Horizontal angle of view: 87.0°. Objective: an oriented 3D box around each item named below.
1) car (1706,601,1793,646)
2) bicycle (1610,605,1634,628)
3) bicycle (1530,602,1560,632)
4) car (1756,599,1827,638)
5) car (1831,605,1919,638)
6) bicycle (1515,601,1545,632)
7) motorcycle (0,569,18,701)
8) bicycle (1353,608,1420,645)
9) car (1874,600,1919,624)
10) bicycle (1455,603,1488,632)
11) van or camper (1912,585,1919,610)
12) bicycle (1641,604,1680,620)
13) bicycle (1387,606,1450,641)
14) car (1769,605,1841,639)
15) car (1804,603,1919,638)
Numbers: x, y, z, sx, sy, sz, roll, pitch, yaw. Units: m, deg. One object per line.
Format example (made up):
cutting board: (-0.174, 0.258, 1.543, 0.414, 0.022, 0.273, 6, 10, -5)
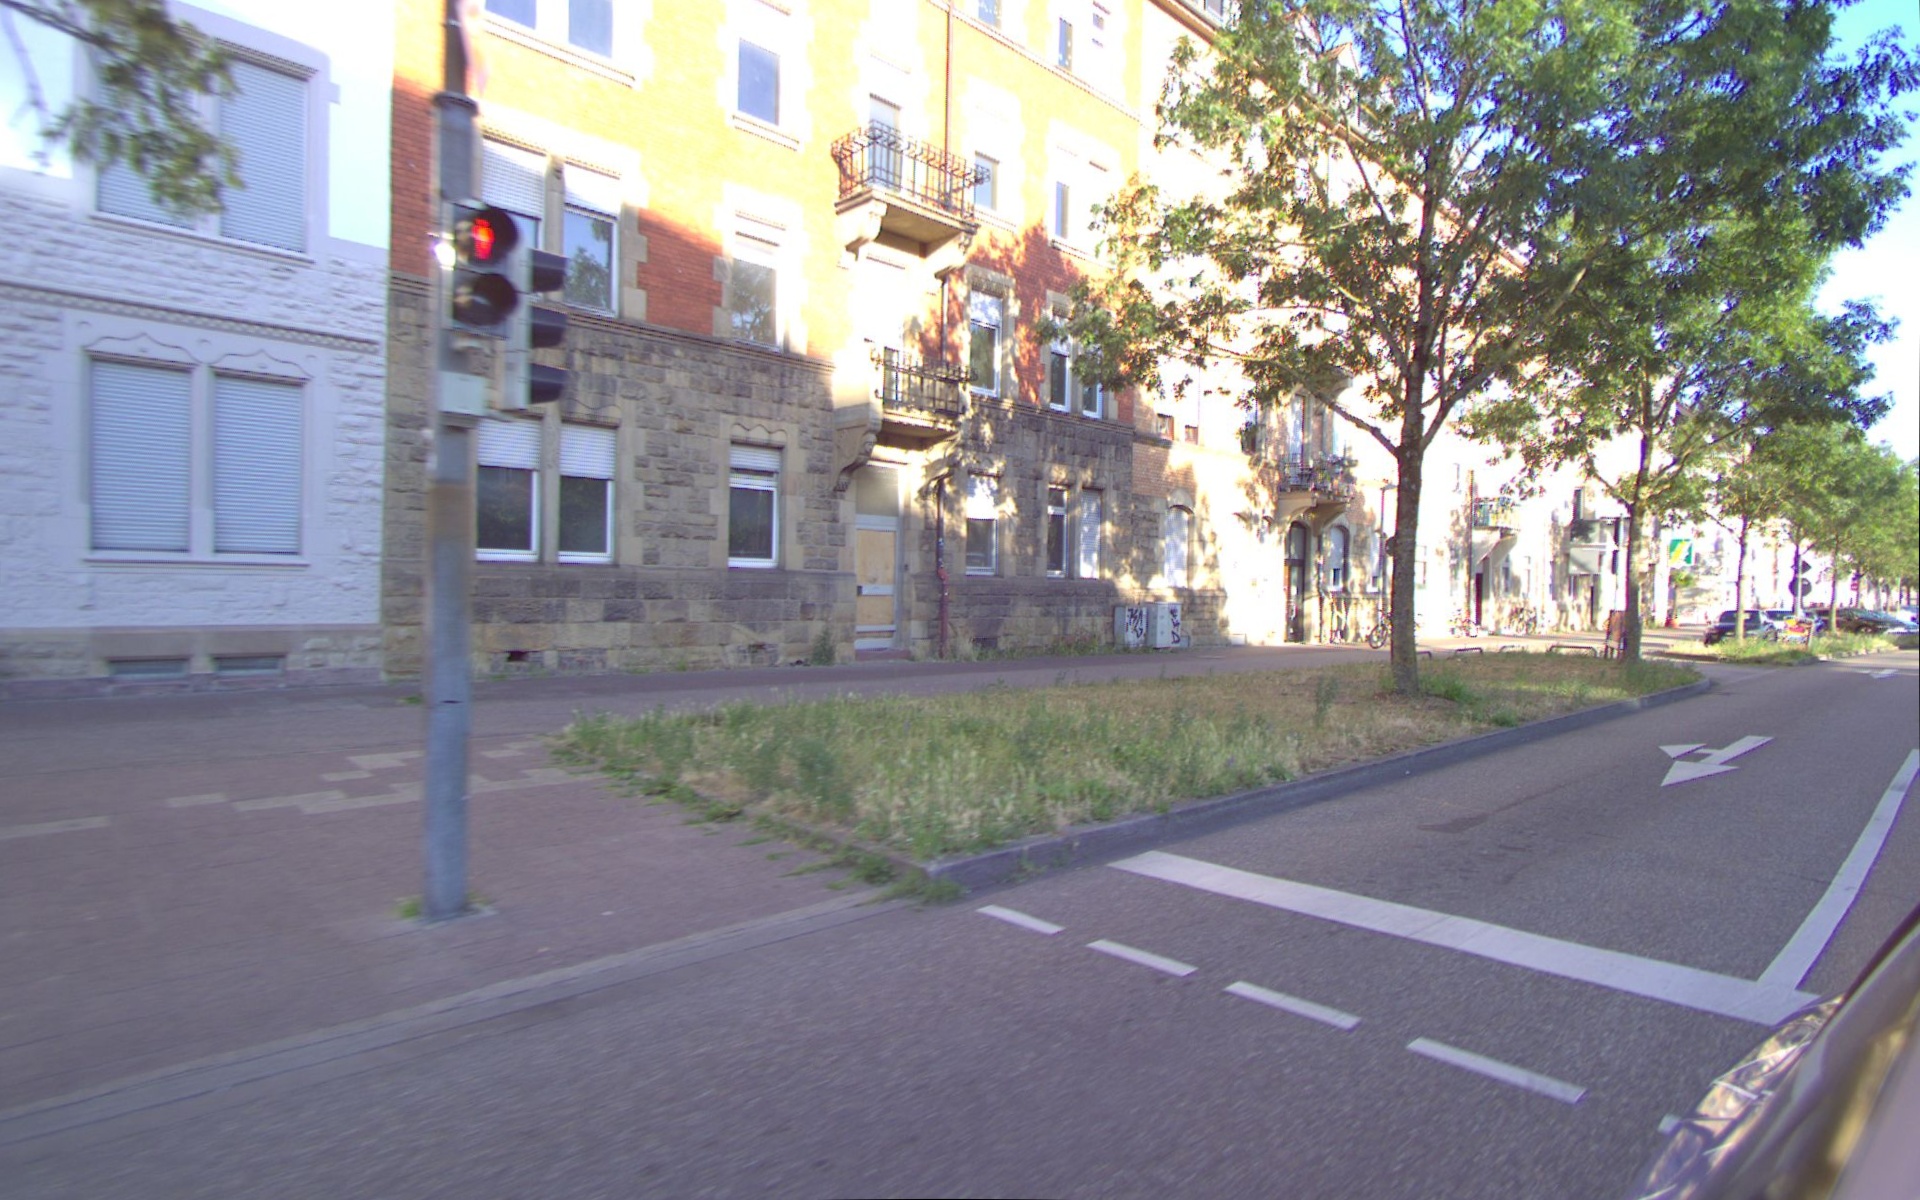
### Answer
car: (27.389, 0.793, 35.059, 4.216, 1.467, 1.705, 0, -2, -43)
bicycle: (33.372, 0.817, 50.994, 1.865, 1.087, 0.573, 0, 2, -44)
bicycle: (24.533, 0.707, 42.424, 1.717, 1.178, 0.484, 1, 6, -43)
car: (34.123, 0.742, 41.485, 4.201, 1.531, 1.726, 1, -2, -44)
car: (46.338, 1.038, 50.377, 1.808, 1.541, 4.295, 1, 0, -11)
bicycle: (23.175, 0.653, 41.137, 1.717, 1.178, 0.484, 1, 6, -43)
motorcycle: (-9.810, 0.328, 9.036, 0.554, 1.229, 2.039, 0, 0, 45)
bicycle: (11.789, 0.714, 27.958, 2.048, 0.927, 0.874, 0, 2, -42)
car: (70.648, 0.910, 74.732, 1.877, 1.713, 4.439, 1, 0, -8)
bicycle: (18.502, 0.639, 36.603, 1.717, 1.018, 0.484, 1, 0, -43)
van or camper: (111.948, -0.196, 114.659, 2.158, 2.847, 5.662, 1, 1, -12)
bicycle: (49.652, 0.843, 71.698, 2.205, 1.119, 0.530, 2, 1, 44)
bicycle: (13.521, 0.673, 29.790, 2.298, 0.960, 0.735, 0, 2, -40)
car: (37.918, 0.969, 45.390, 4.827, 1.463, 1.946, 0, -2, -44)
car: (44.107, 0.981, 49.309, 1.960, 1.591, 4.348, 1, -1, -10)
